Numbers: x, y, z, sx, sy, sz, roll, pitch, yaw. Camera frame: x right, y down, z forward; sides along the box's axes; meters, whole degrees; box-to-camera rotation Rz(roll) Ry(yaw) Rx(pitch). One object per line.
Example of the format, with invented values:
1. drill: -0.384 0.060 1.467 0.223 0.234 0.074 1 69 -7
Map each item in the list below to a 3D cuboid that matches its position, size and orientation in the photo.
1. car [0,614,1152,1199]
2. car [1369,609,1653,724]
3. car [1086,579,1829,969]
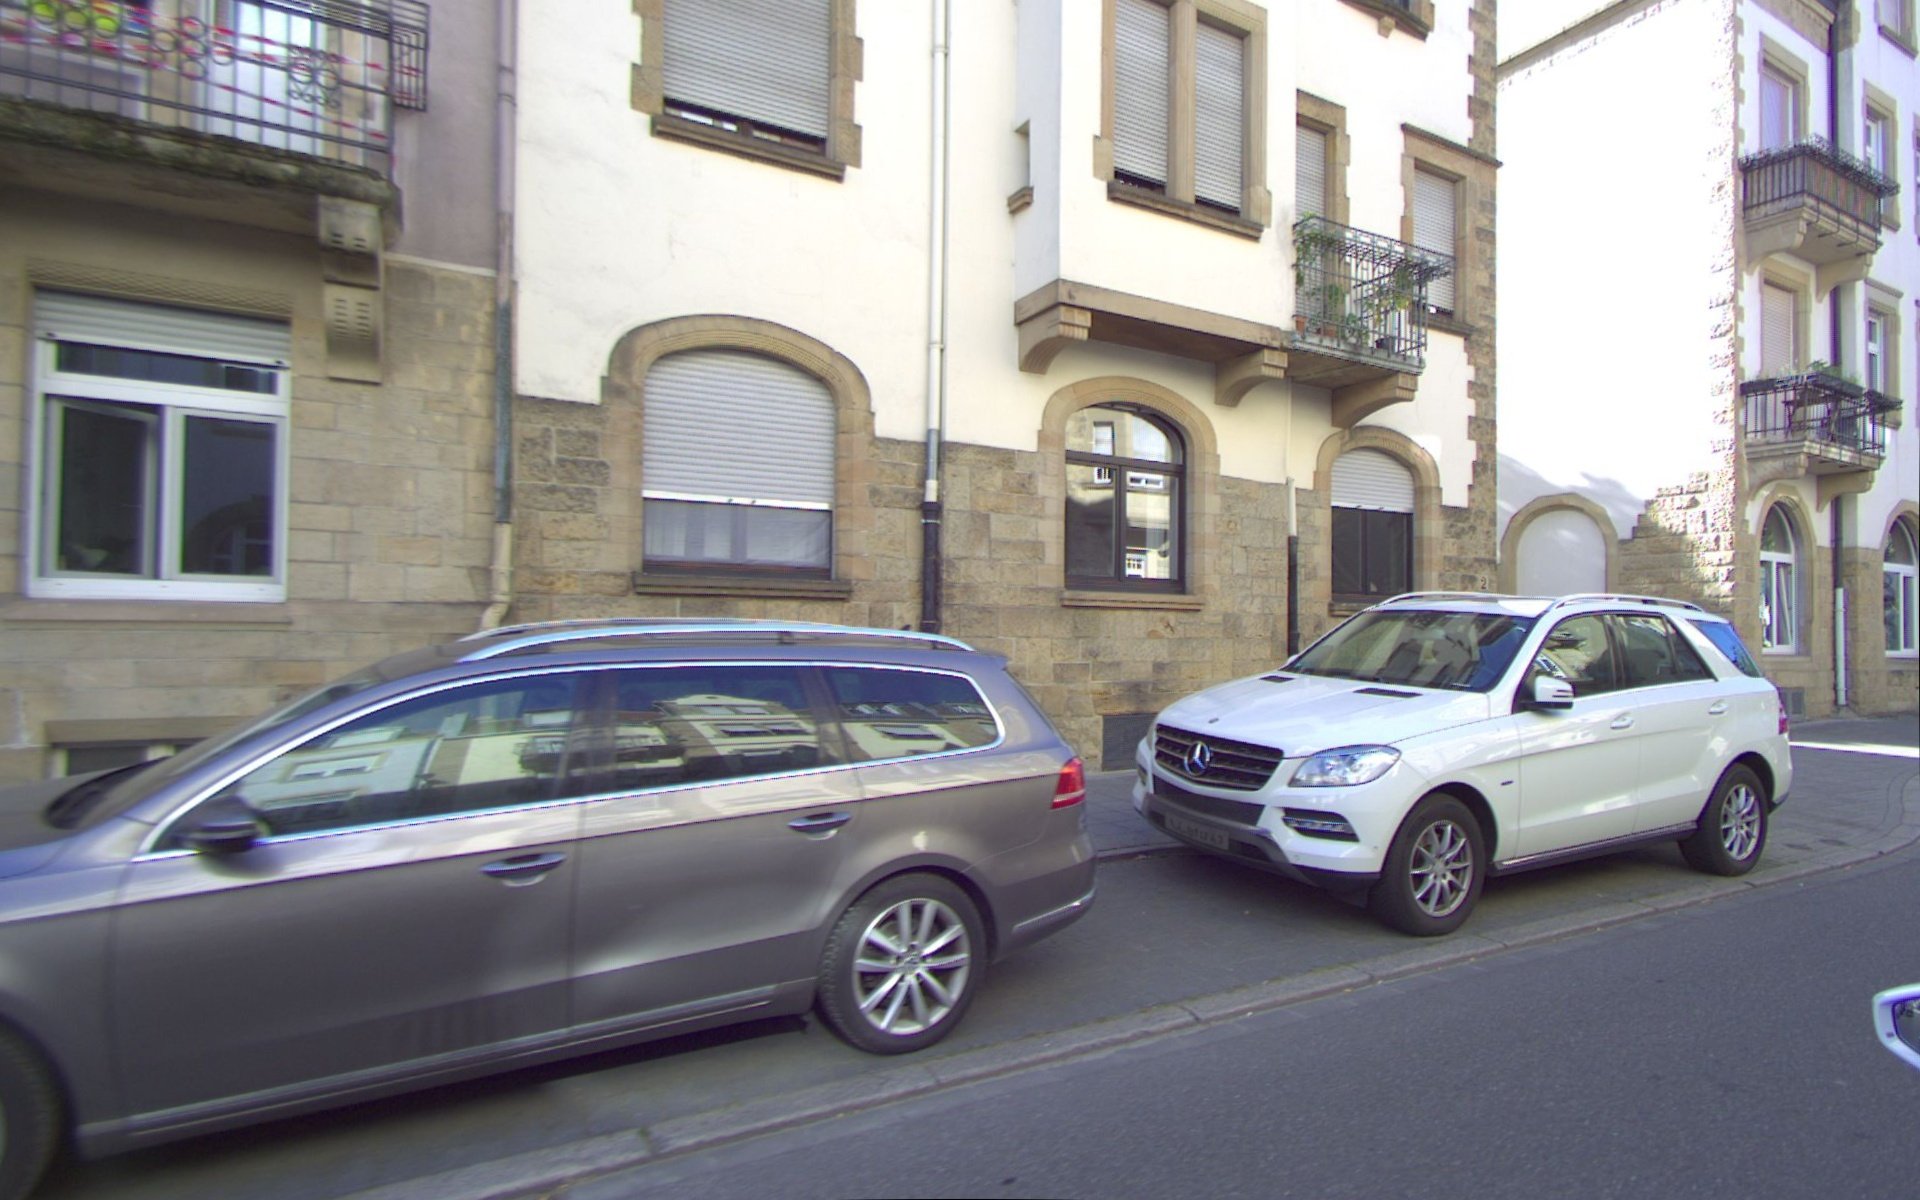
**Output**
1. car: -1.462 0.839 3.687 4.227 1.507 1.567 1 0 -29
2. car: 9.391 1.084 17.458 1.886 1.750 3.952 1 -2 -29
3. car: 3.276 0.804 6.428 4.666 1.745 1.884 1 0 -28
